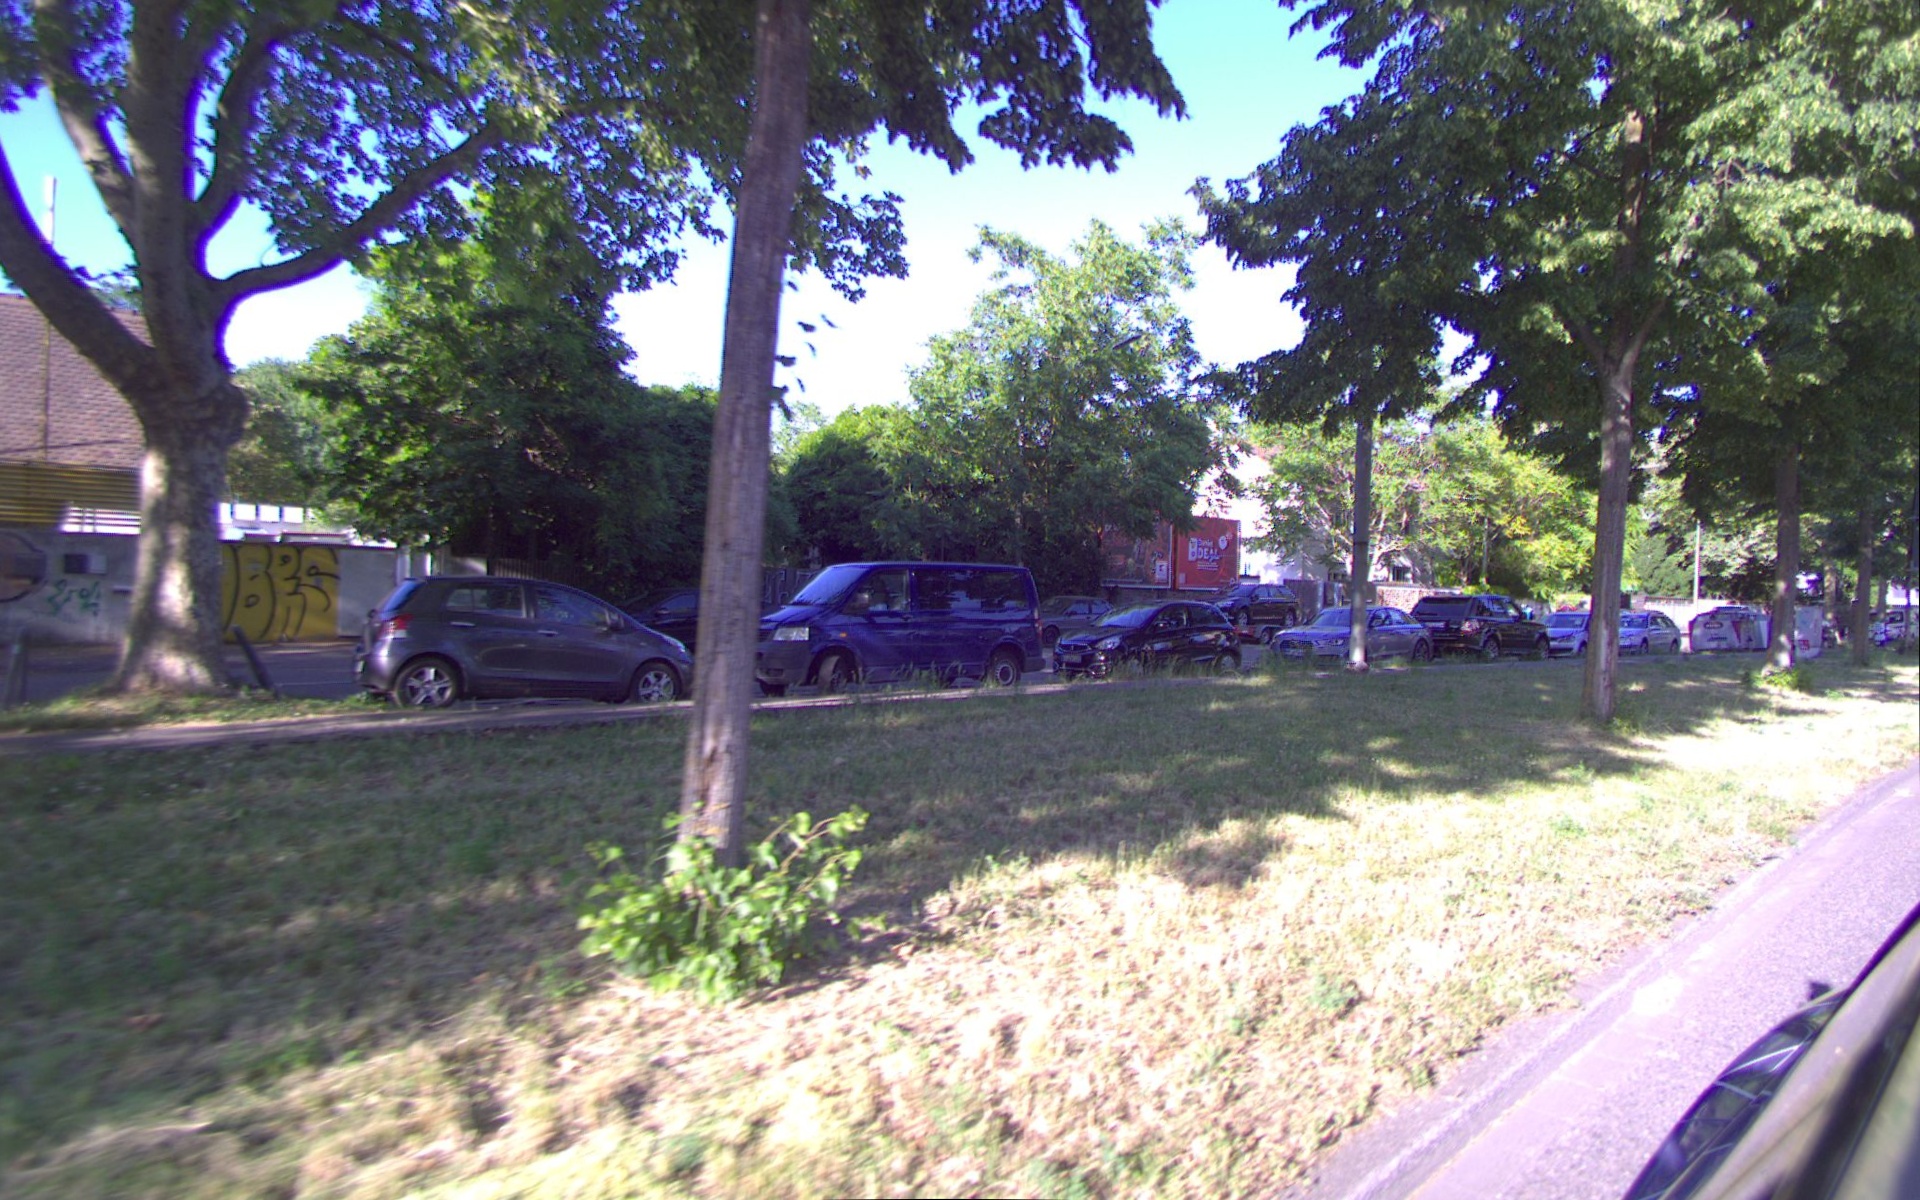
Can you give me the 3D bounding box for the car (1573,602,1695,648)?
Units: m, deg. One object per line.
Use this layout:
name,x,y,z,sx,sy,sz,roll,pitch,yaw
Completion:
car,21.599,0.772,32.391,4.463,1.332,1.998,1,0,-39

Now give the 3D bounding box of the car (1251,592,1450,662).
car,8.799,0.555,22.609,4.777,1.380,1.998,1,0,-38

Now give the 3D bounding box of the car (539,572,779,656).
car,-6.457,0.278,22.037,4.574,1.548,1.998,1,3,-42

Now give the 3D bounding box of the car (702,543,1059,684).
car,-1.054,0.179,14.933,4.927,1.764,2.038,1,0,-37

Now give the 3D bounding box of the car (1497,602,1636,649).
car,17.377,0.707,28.948,4.036,1.226,2.000,1,0,-36

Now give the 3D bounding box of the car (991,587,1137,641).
car,3.038,0.389,29.186,4.095,1.420,1.796,1,0,-38

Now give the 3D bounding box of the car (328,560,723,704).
car,-4.982,0.317,11.815,3.843,1.398,1.942,1,0,-39

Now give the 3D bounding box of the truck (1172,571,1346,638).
truck,10.360,0.161,34.791,6.460,2.101,2.455,1,0,-38

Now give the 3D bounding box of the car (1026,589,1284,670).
car,3.592,0.481,18.245,4.567,1.265,2.000,1,0,-36

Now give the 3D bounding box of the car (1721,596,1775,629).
car,51.752,0.822,66.425,3.929,2.039,1.998,1,0,-40

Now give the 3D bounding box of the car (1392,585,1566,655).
car,13.176,0.487,25.608,4.566,1.616,2.000,1,0,-35

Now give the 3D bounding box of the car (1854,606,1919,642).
car,44.498,1.112,48.449,3.929,1.605,1.998,1,0,-40
